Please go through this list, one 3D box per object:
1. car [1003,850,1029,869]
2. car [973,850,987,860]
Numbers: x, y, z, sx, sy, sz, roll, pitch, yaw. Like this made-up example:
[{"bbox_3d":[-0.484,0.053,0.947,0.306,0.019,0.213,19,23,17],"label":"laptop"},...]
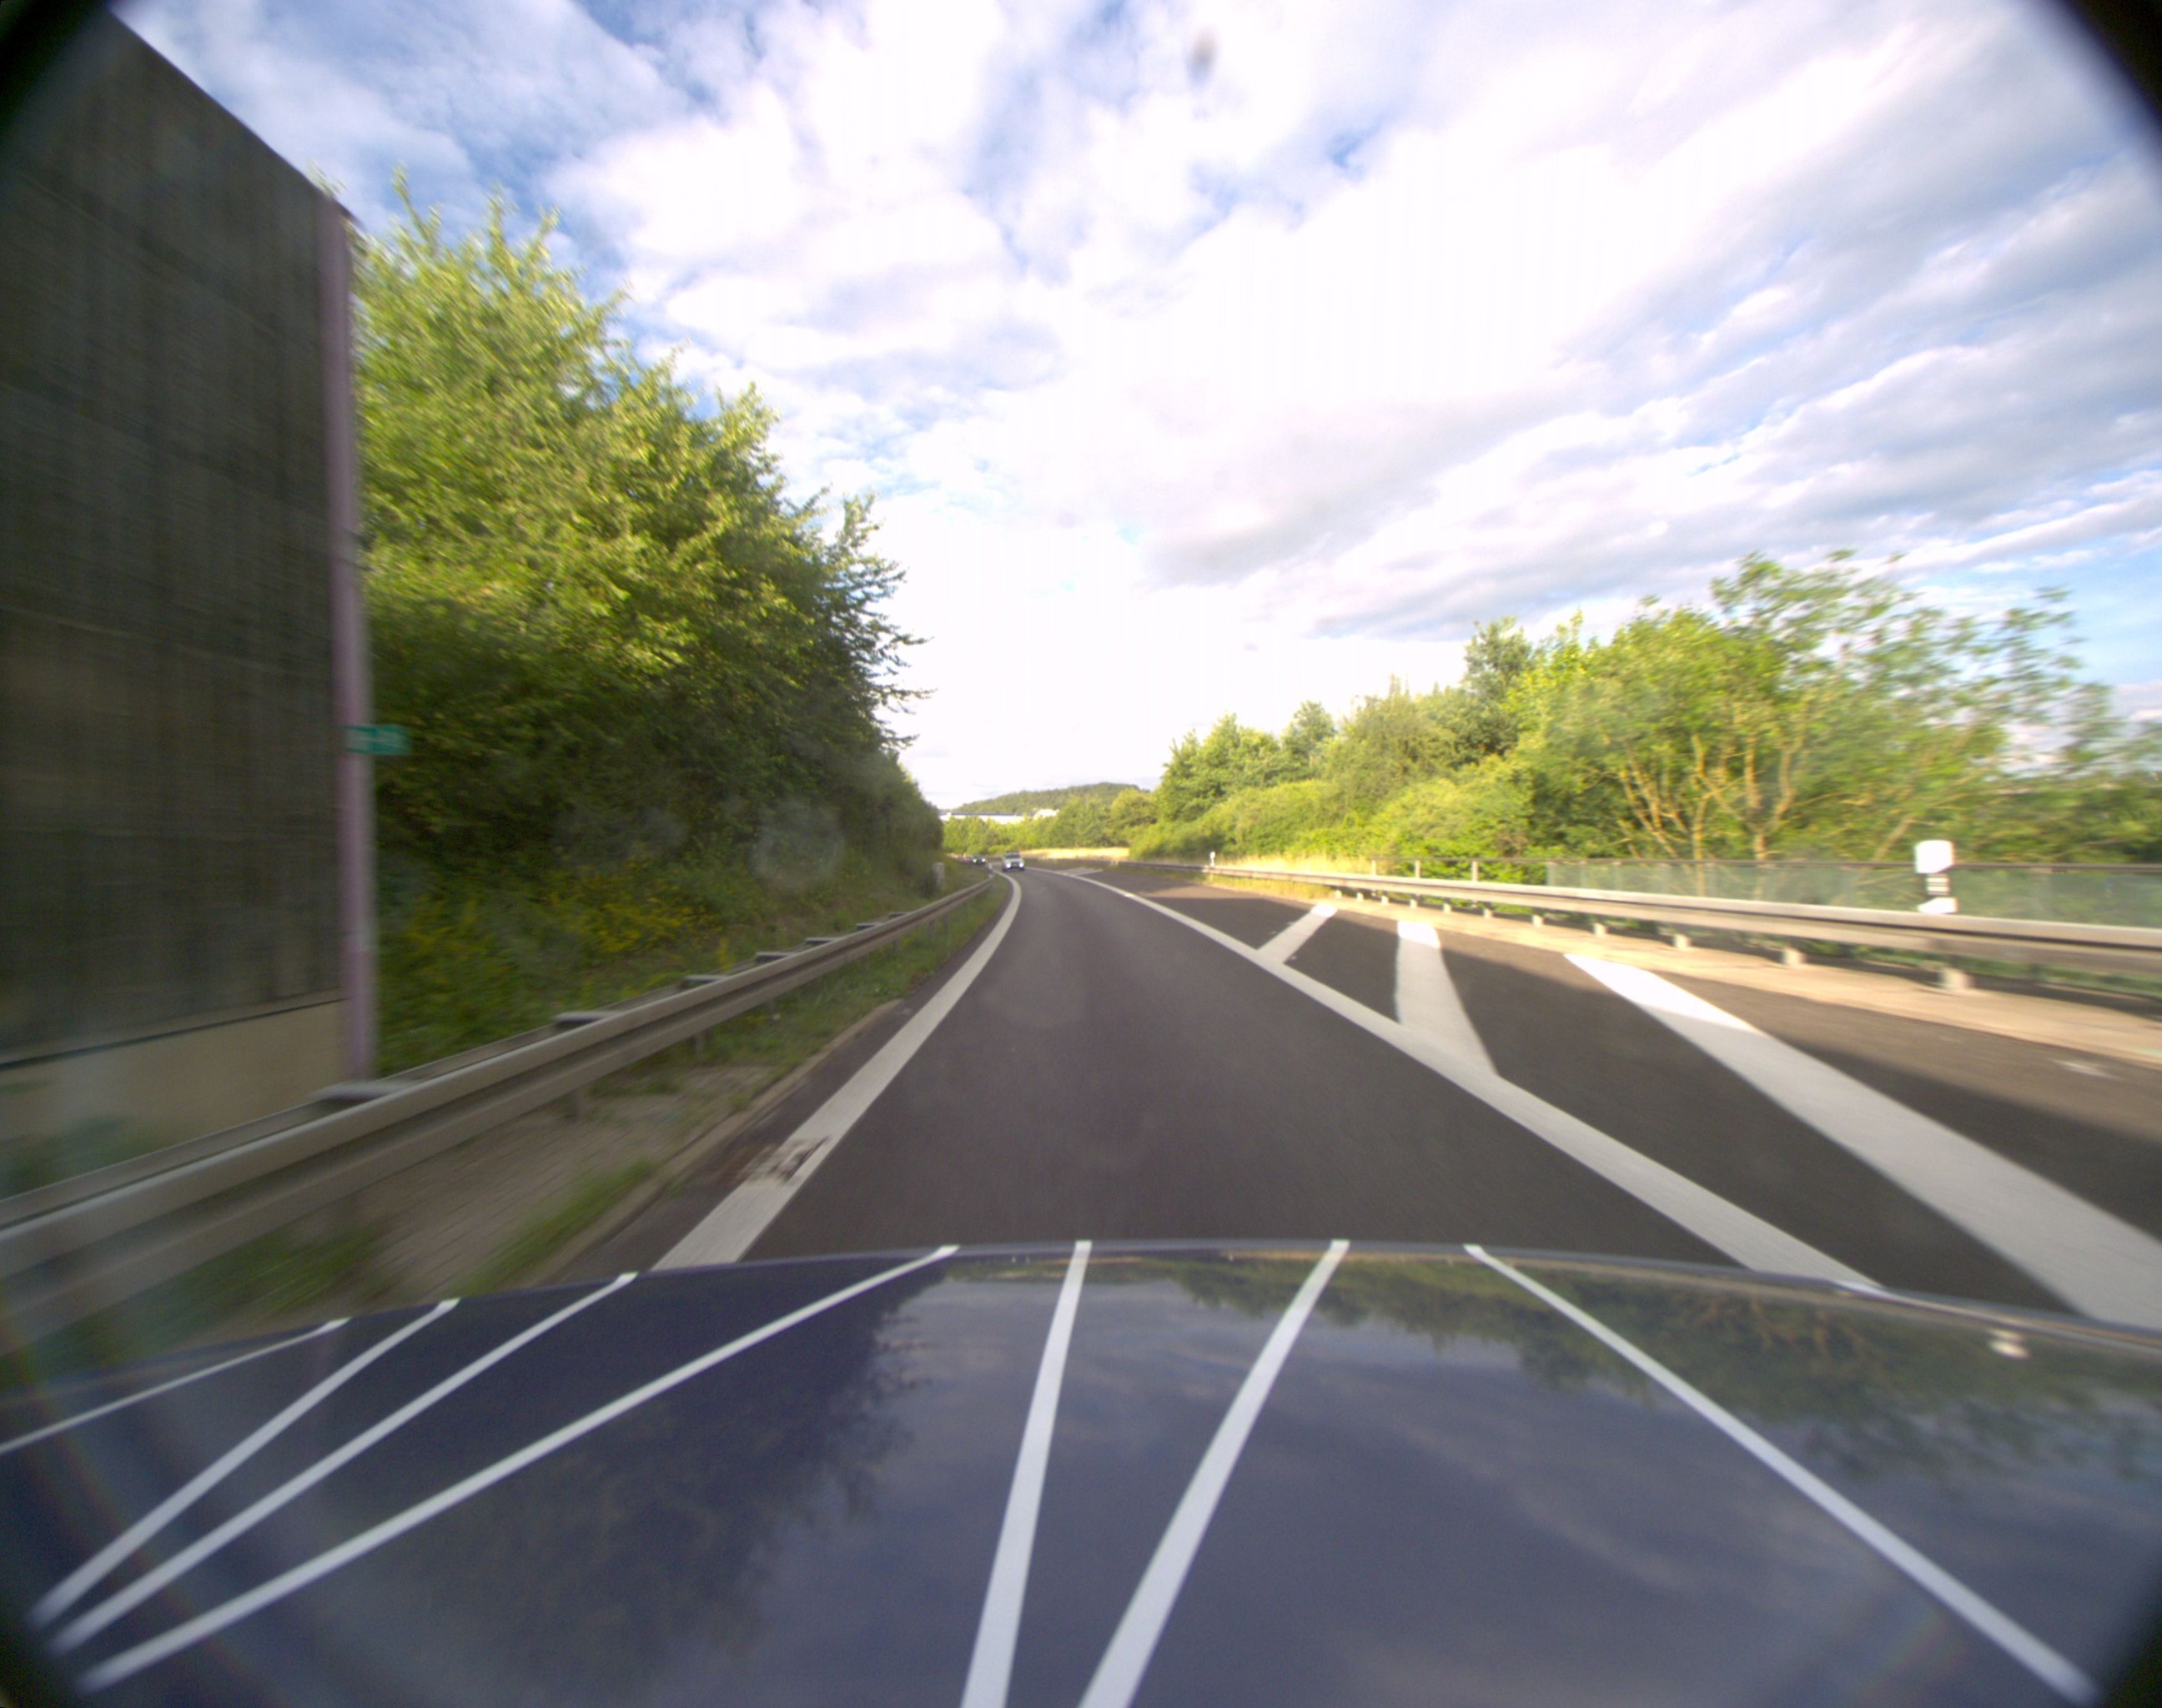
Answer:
[{"bbox_3d":[-6.225,0.502,72.780,1.906,1.655,3.995,-3,1,-12],"label":"car"},{"bbox_3d":[-15.160,0.115,114.360,1.621,1.452,3.657,-3,2,-14],"label":"car"}]
